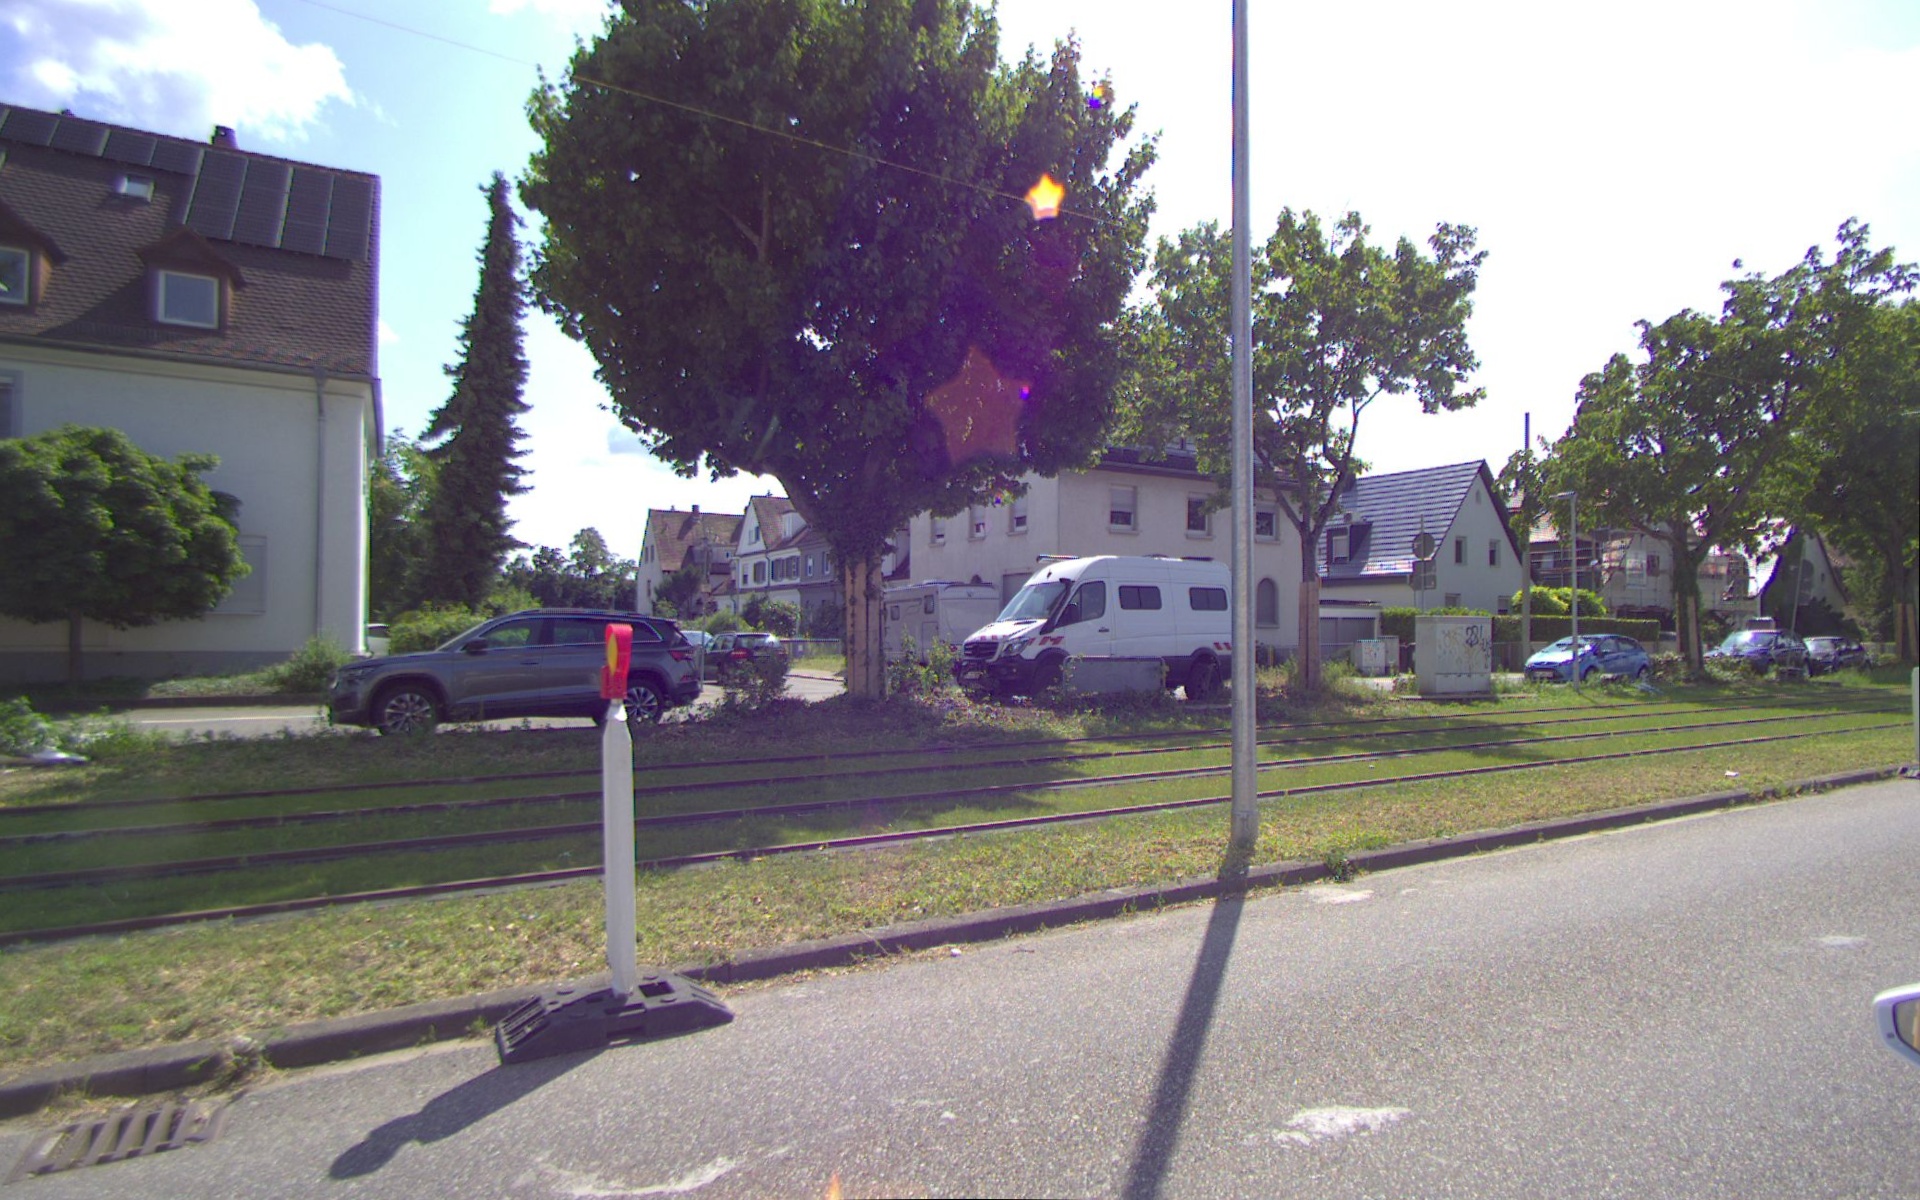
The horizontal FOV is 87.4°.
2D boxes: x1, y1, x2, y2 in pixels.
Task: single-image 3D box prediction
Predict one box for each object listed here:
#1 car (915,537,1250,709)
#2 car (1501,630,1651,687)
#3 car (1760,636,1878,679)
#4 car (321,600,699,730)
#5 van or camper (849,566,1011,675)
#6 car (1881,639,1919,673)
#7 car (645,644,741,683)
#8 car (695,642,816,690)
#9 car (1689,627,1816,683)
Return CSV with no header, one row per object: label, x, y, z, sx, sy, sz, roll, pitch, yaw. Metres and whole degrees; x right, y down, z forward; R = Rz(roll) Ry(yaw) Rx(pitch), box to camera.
car,2.425,0.459,18.710,6.391,2.766,1.983,1,-3,-32
car,16.639,1.564,27.114,3.841,1.454,1.747,2,-3,-28
car,30.658,2.069,35.834,3.953,1.457,1.985,2,-4,-30
car,-6.048,0.861,13.770,4.433,1.525,1.985,2,-3,-30
van or camper,-1.190,0.748,33.636,2.603,3.264,6.698,1,-2,-30
car,39.439,2.262,40.760,3.807,1.334,1.985,2,-5,-30
car,-8.457,1.963,31.576,1.976,1.149,3.970,2,-3,-29
car,-5.505,1.711,26.649,2.022,1.176,3.969,2,-3,-30
car,25.710,1.778,32.562,4.346,1.713,1.982,2,-3,-34
